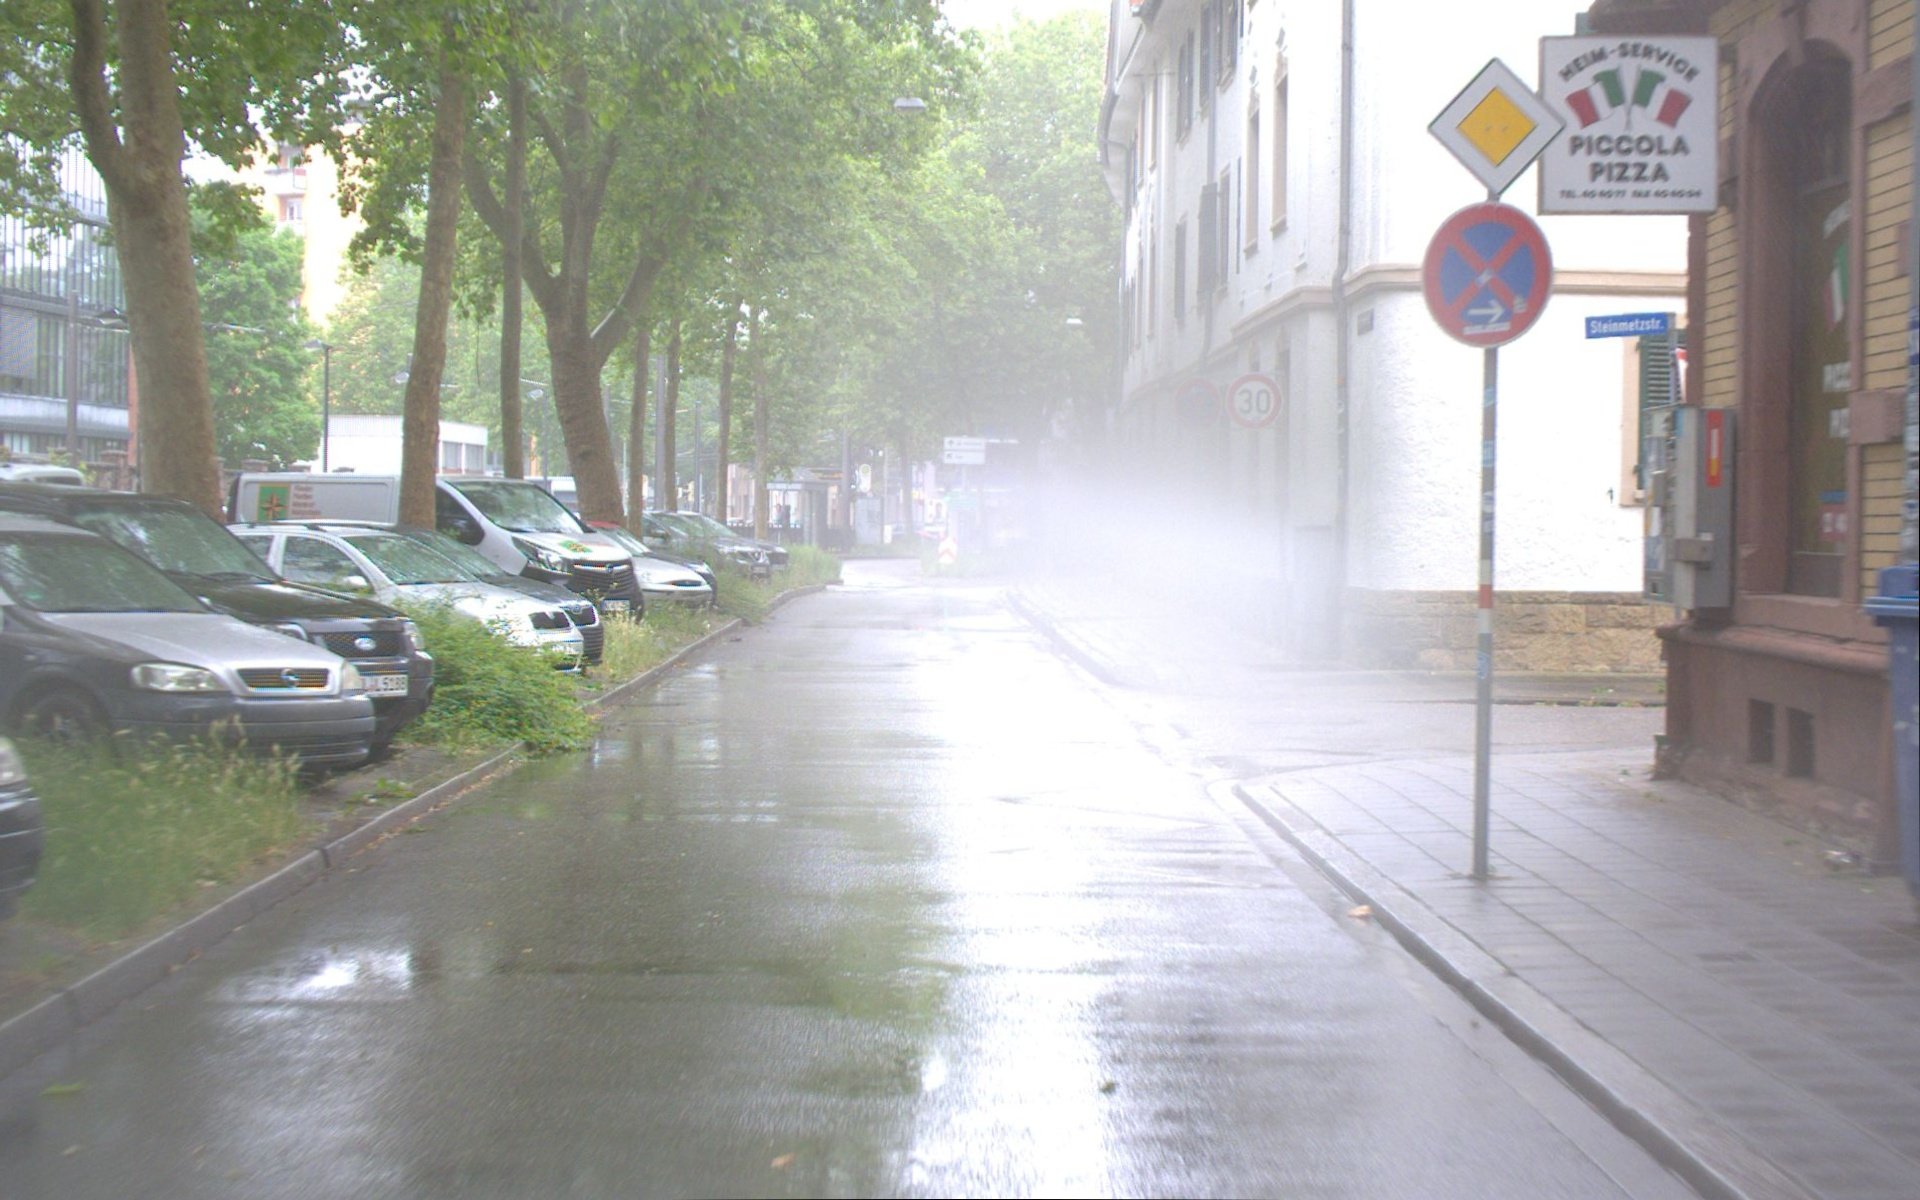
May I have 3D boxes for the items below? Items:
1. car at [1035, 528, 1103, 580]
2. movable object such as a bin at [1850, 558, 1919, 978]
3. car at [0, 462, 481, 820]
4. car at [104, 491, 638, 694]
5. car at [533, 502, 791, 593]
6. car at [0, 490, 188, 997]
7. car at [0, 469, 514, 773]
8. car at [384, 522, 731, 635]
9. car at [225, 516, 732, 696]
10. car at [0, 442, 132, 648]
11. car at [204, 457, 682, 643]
[{"bbox_3d":[3.606,-1.549,113.981,1.993,1.634,4.000,2,1,-1],"label":"car"},{"bbox_3d":[3.501,0.521,10.731,1.021,1.297,1.367,-3,2,-1],"label":"movable object such as a bin"},{"bbox_3d":[-4.807,0.179,17.681,4.411,1.640,1.869,0,1,31],"label":"car"},{"bbox_3d":[-4.894,-0.110,28.557,4.061,1.494,1.745,2,2,23],"label":"car"},{"bbox_3d":[-5.589,-1.008,64.416,4.464,1.591,1.921,2,2,26],"label":"car"},{"bbox_3d":[-4.706,0.349,10.952,4.223,1.474,1.741,2,2,27],"label":"car"},{"bbox_3d":[-5.048,0.052,20.562,4.410,1.654,1.927,1,2,27],"label":"car"},{"bbox_3d":[-5.527,-0.307,47.073,4.553,1.477,1.772,0,1,30],"label":"car"},{"bbox_3d":[-4.388,0.009,31.235,4.308,1.432,1.745,2,2,26],"label":"car"},{"bbox_3d":[-10.130,-0.633,35.822,2.037,1.993,5.160,1,2,-4],"label":"car"},{"bbox_3d":[-5.841,-0.571,38.694,5.124,1.970,2.099,0,1,30],"label":"car"}]
